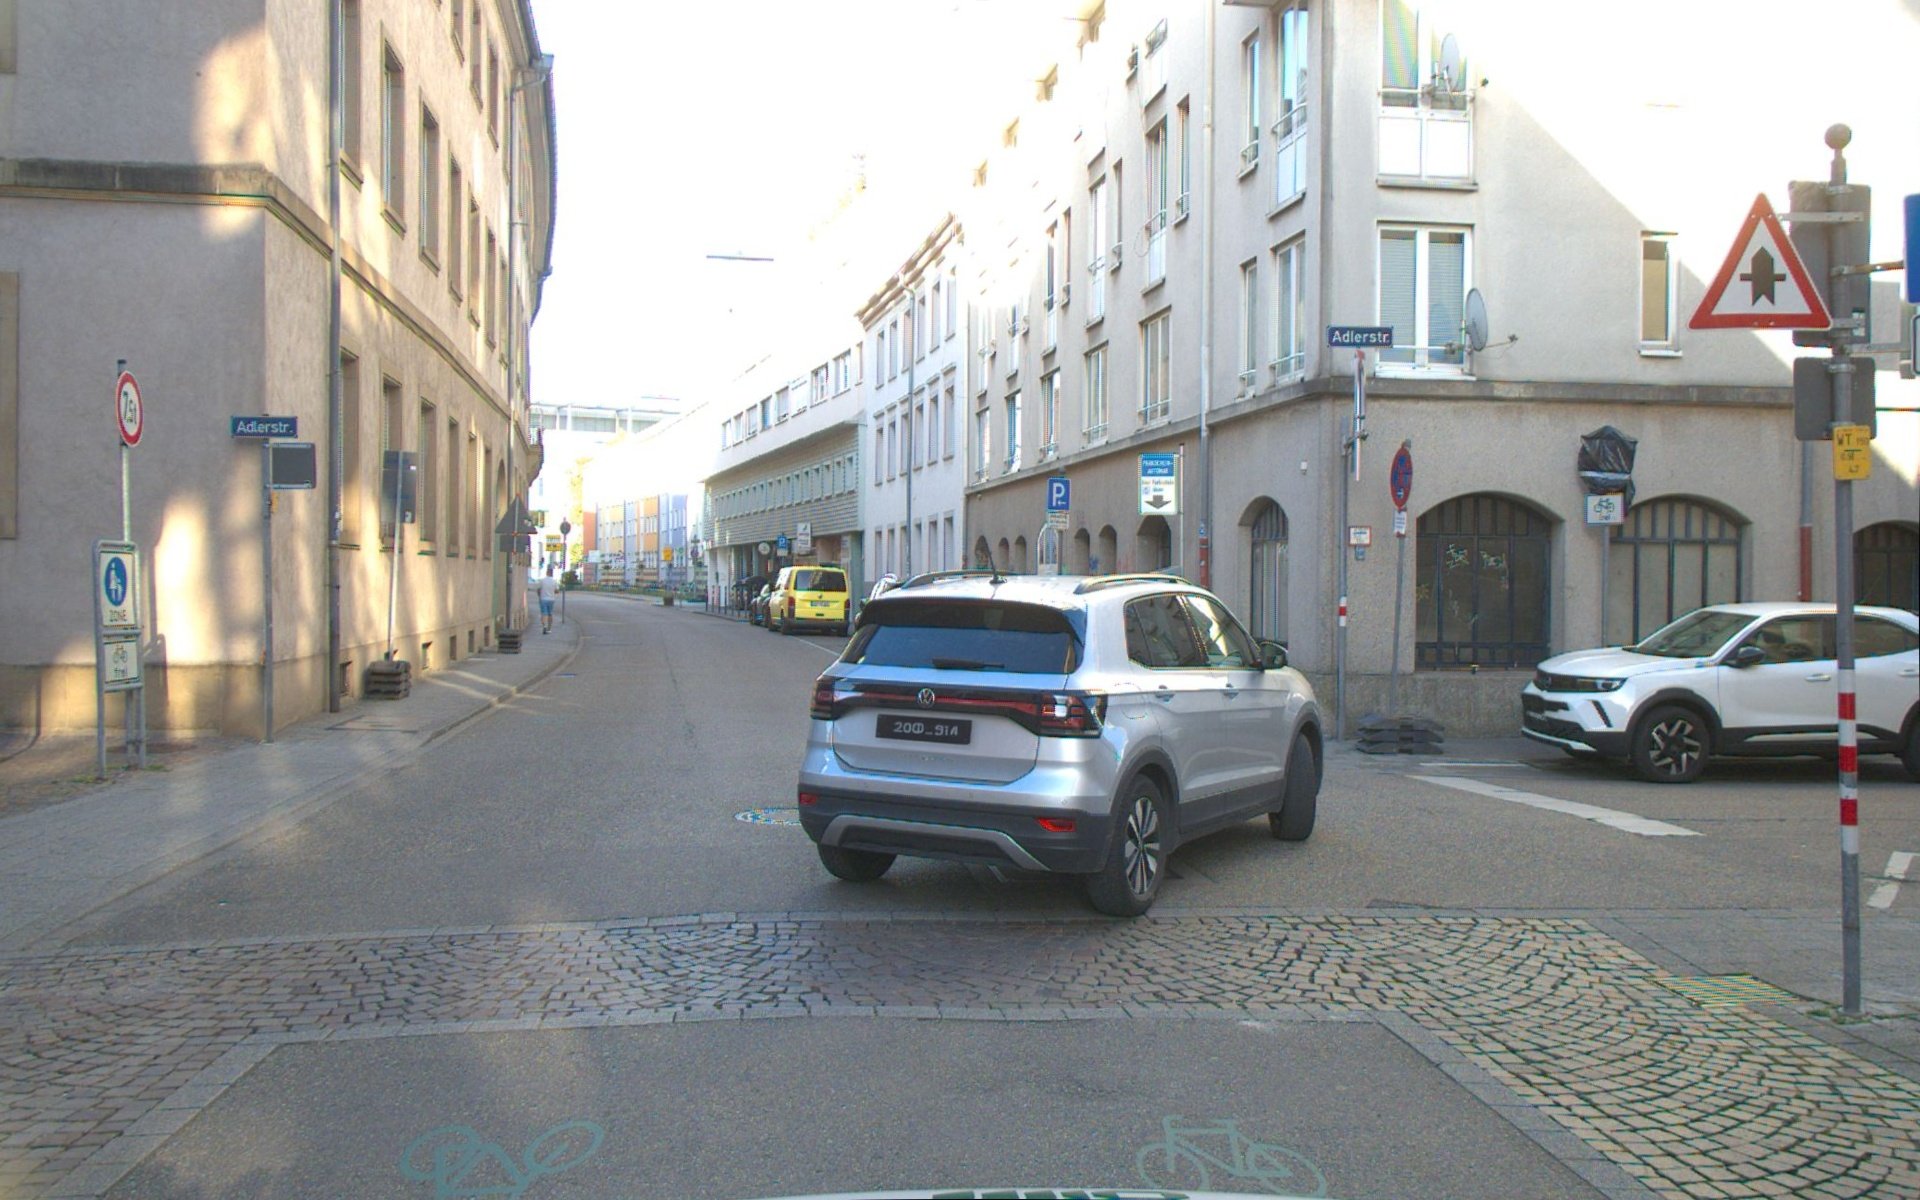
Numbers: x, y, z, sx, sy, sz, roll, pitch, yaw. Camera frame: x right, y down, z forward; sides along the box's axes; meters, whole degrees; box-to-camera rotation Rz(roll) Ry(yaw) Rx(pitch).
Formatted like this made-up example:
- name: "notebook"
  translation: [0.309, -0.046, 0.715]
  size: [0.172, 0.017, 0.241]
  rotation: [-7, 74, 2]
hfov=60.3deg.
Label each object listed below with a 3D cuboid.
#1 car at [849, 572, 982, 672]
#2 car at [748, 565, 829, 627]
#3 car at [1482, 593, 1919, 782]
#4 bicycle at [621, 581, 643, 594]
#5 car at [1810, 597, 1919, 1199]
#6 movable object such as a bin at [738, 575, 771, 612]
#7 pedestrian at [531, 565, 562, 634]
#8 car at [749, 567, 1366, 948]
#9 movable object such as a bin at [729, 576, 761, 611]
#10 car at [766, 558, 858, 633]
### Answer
- name: "car"
  translation: [-0.912, 0.370, 31.380]
  size: [1.932, 1.721, 4.092]
  rotation: [2, 1, -10]
- name: "car"
  translation: [-5.587, -0.164, 53.434]
  size: [2.018, 1.905, 4.085]
  rotation: [0, 1, -14]
- name: "car"
  translation: [7.220, 0.772, 15.334]
  size: [4.132, 1.580, 1.900]
  rotation: [1, 1, -4]
- name: "bicycle"
  translation: [-26.872, -1.014, 135.415]
  size: [1.751, 1.018, 0.544]
  rotation: [1, 0, -16]
- name: "car"
  translation: [3.034, 0.807, 1.744]
  size: [1.852, 1.544, 4.057]
  rotation: [1, 1, -7]
- name: "movable object such as a bin"
  translation: [-8.905, -0.295, 71.741]
  size: [1.114, 1.585, 1.731]
  rotation: [1, 1, -18]
- name: "pedestrian"
  translation: [-10.696, -0.012, 42.758]
  size: [0.753, 1.754, 0.684]
  rotation: [1, 0, -16]
- name: "car"
  translation: [0.775, 0.622, 9.096]
  size: [1.802, 1.589, 3.992]
  rotation: [0, 1, 30]
- name: "movable object such as a bin"
  translation: [-9.541, -0.298, 73.416]
  size: [1.114, 1.505, 1.731]
  rotation: [1, 1, -18]
- name: "car"
  translation: [-4.306, -0.154, 47.702]
  size: [2.018, 2.049, 4.160]
  rotation: [0, 1, -14]
